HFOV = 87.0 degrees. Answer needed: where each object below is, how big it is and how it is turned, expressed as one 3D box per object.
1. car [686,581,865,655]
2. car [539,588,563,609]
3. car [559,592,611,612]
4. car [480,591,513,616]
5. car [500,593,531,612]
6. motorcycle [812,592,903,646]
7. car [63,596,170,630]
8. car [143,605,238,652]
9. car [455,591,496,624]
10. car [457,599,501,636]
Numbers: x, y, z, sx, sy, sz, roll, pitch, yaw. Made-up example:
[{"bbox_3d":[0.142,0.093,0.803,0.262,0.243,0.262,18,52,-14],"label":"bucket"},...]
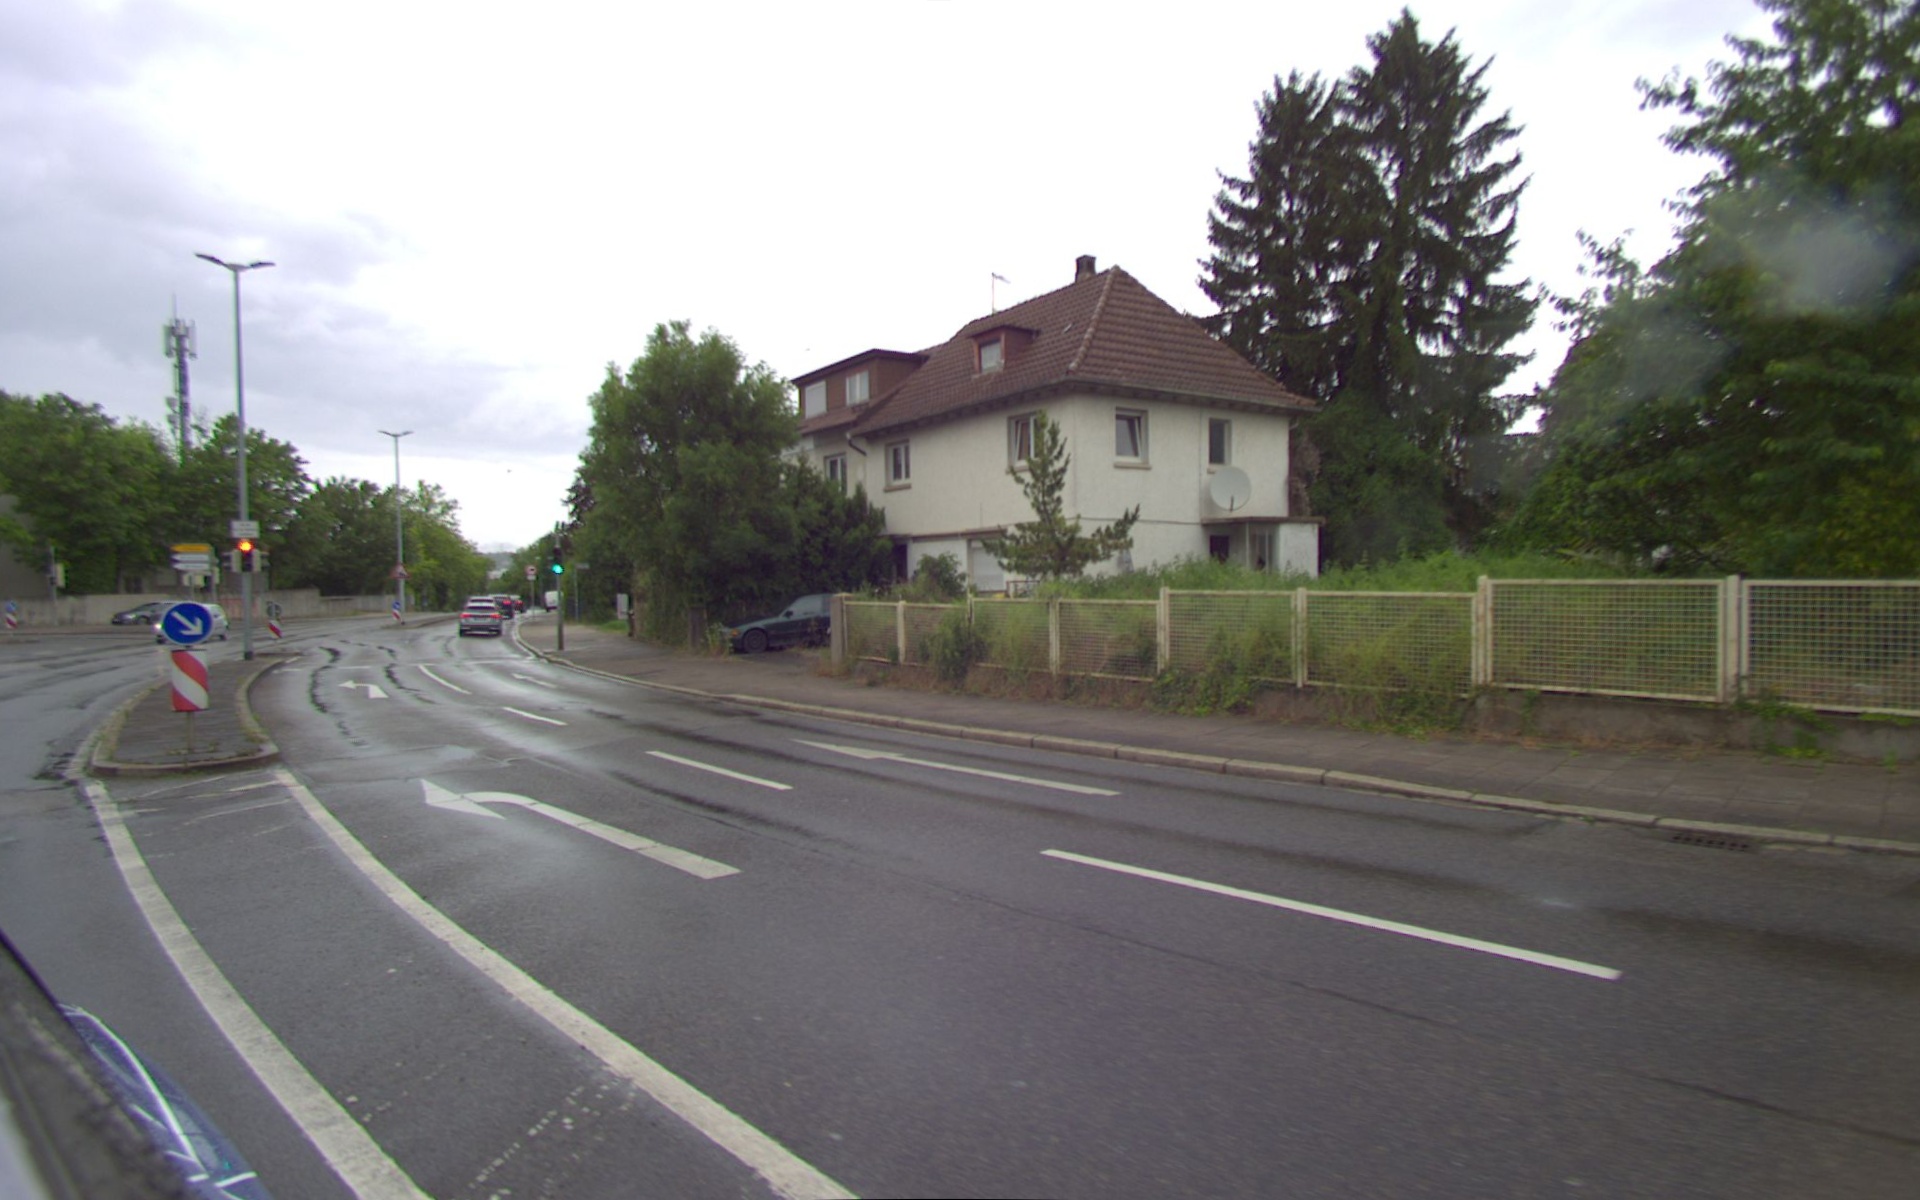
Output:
[{"bbox_3d":[-4.641,0.394,25.715,3.937,1.404,1.937,-7,4,-37],"label":"car"},{"bbox_3d":[-36.288,-0.192,89.926,1.791,1.730,4.013,-1,2,-20],"label":"car"},{"bbox_3d":[-29.894,0.151,80.647,3.824,1.466,1.774,-1,2,-22],"label":"car"},{"bbox_3d":[-31.649,0.198,69.182,1.838,1.565,4.461,0,1,-22],"label":"car"},{"bbox_3d":[-37.150,0.222,84.580,1.839,1.487,4.460,1,1,-17],"label":"car"},{"bbox_3d":[-2.537,0.447,25.329,2.175,1.097,0.729,-7,5,-40],"label":"motorcycle"},{"bbox_3d":[-47.490,0.689,57.050,1.989,1.668,4.190,0,2,25],"label":"car"},{"bbox_3d":[-31.543,1.119,41.606,1.965,1.668,4.013,-1,2,-20],"label":"car"},{"bbox_3d":[-27.552,0.405,57.645,1.856,1.690,4.246,-1,2,-22],"label":"car"},{"bbox_3d":[-22.278,0.773,47.027,1.652,1.460,4.705,-1,2,-23],"label":"car"}]
